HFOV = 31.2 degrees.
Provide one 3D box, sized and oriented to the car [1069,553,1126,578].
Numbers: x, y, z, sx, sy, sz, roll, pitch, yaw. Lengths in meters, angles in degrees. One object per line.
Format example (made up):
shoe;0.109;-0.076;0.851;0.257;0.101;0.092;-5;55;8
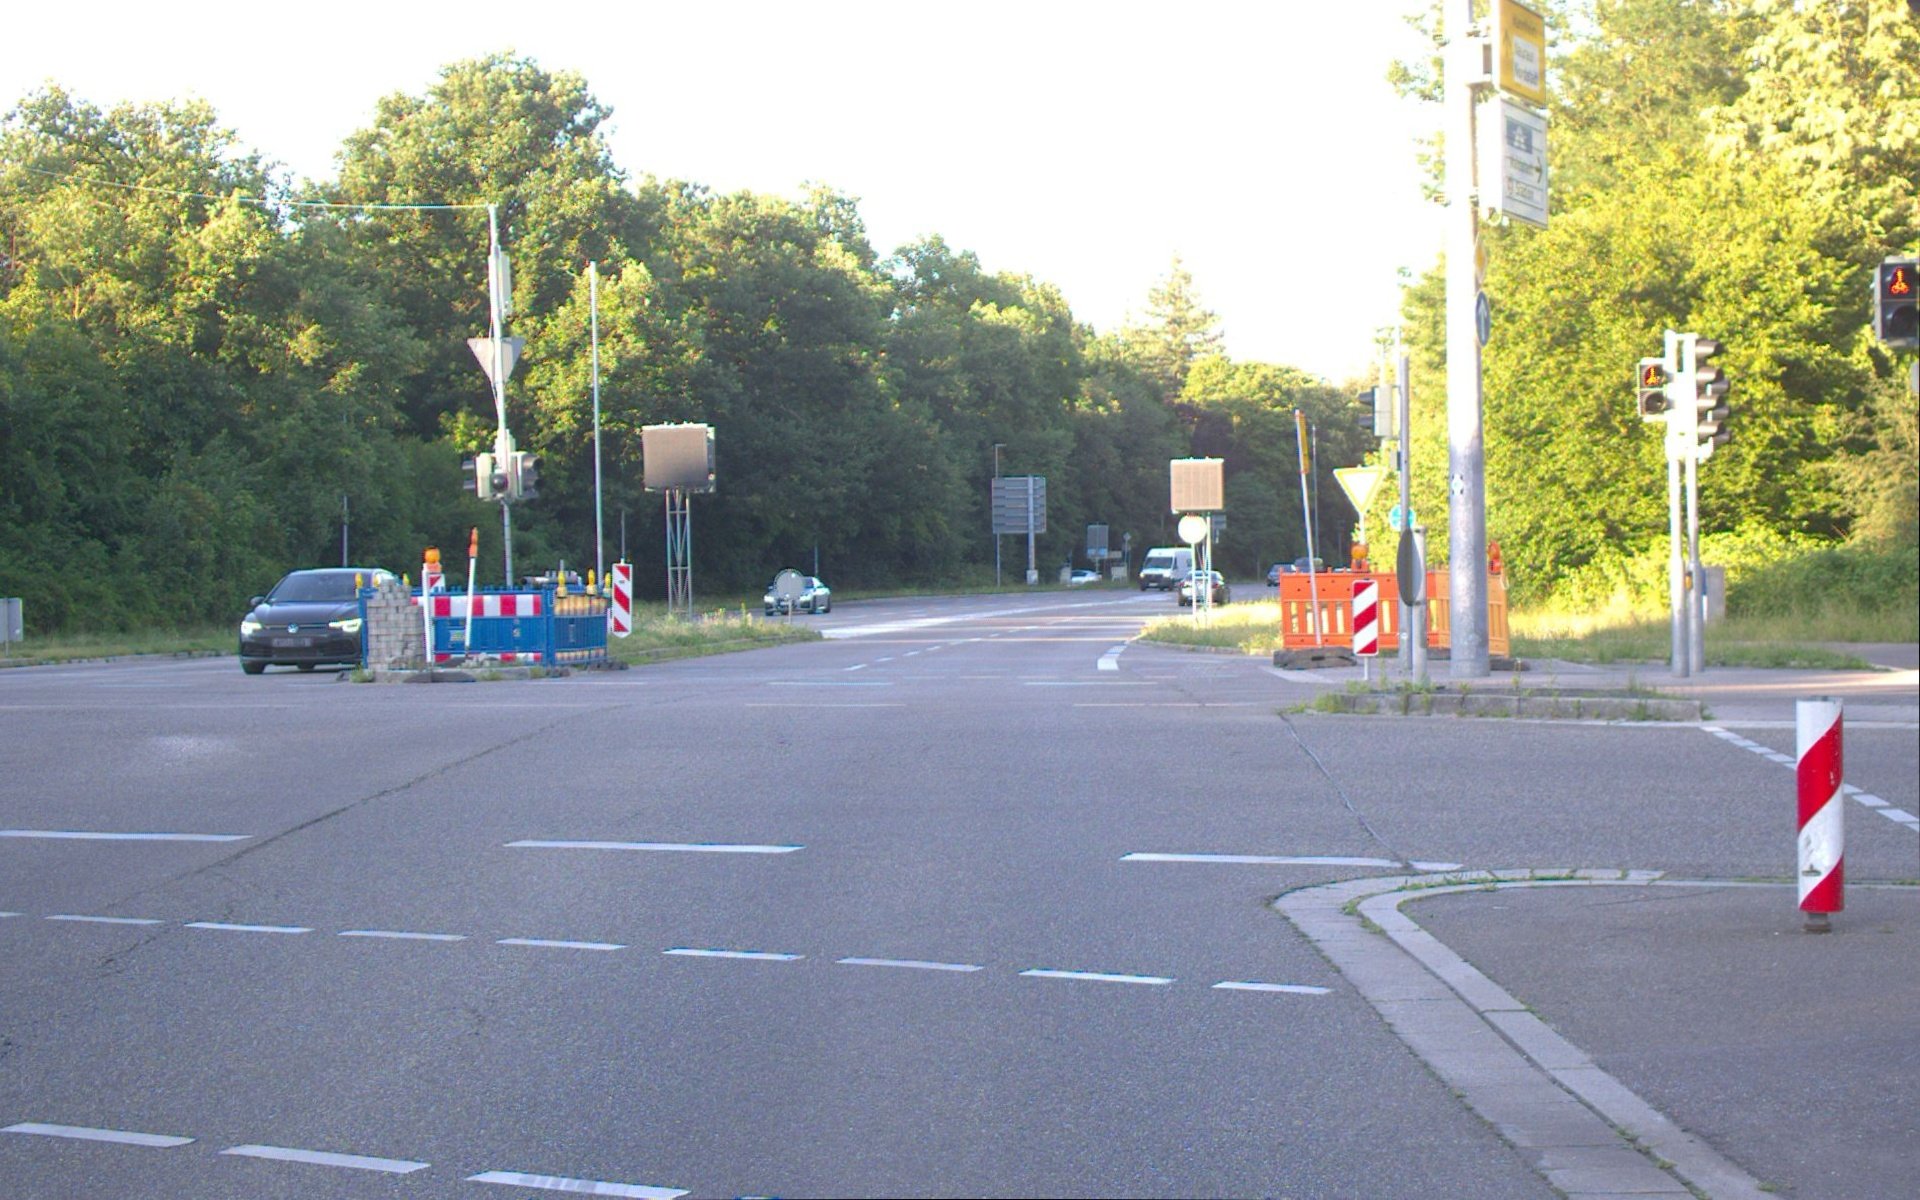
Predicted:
car;9.685;-2.424;241.803;3.987;1.718;1.845;1;0;3

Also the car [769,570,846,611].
car;-5.599;-0.357;126.631;1.994;1.415;3.998;-1;1;10

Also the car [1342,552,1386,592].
car;21.316;-1.481;181.423;1.789;2.007;3.998;-1;1;14

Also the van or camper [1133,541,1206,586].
van or camper;12.866;-2.253;210.676;2.887;2.643;7.116;0;1;16

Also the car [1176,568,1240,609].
car;10.329;-0.498;142.969;1.995;1.612;3.998;-1;1;13

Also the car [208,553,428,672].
car;-8.885;0.134;47.969;1.994;1.524;4.678;-1;1;2
